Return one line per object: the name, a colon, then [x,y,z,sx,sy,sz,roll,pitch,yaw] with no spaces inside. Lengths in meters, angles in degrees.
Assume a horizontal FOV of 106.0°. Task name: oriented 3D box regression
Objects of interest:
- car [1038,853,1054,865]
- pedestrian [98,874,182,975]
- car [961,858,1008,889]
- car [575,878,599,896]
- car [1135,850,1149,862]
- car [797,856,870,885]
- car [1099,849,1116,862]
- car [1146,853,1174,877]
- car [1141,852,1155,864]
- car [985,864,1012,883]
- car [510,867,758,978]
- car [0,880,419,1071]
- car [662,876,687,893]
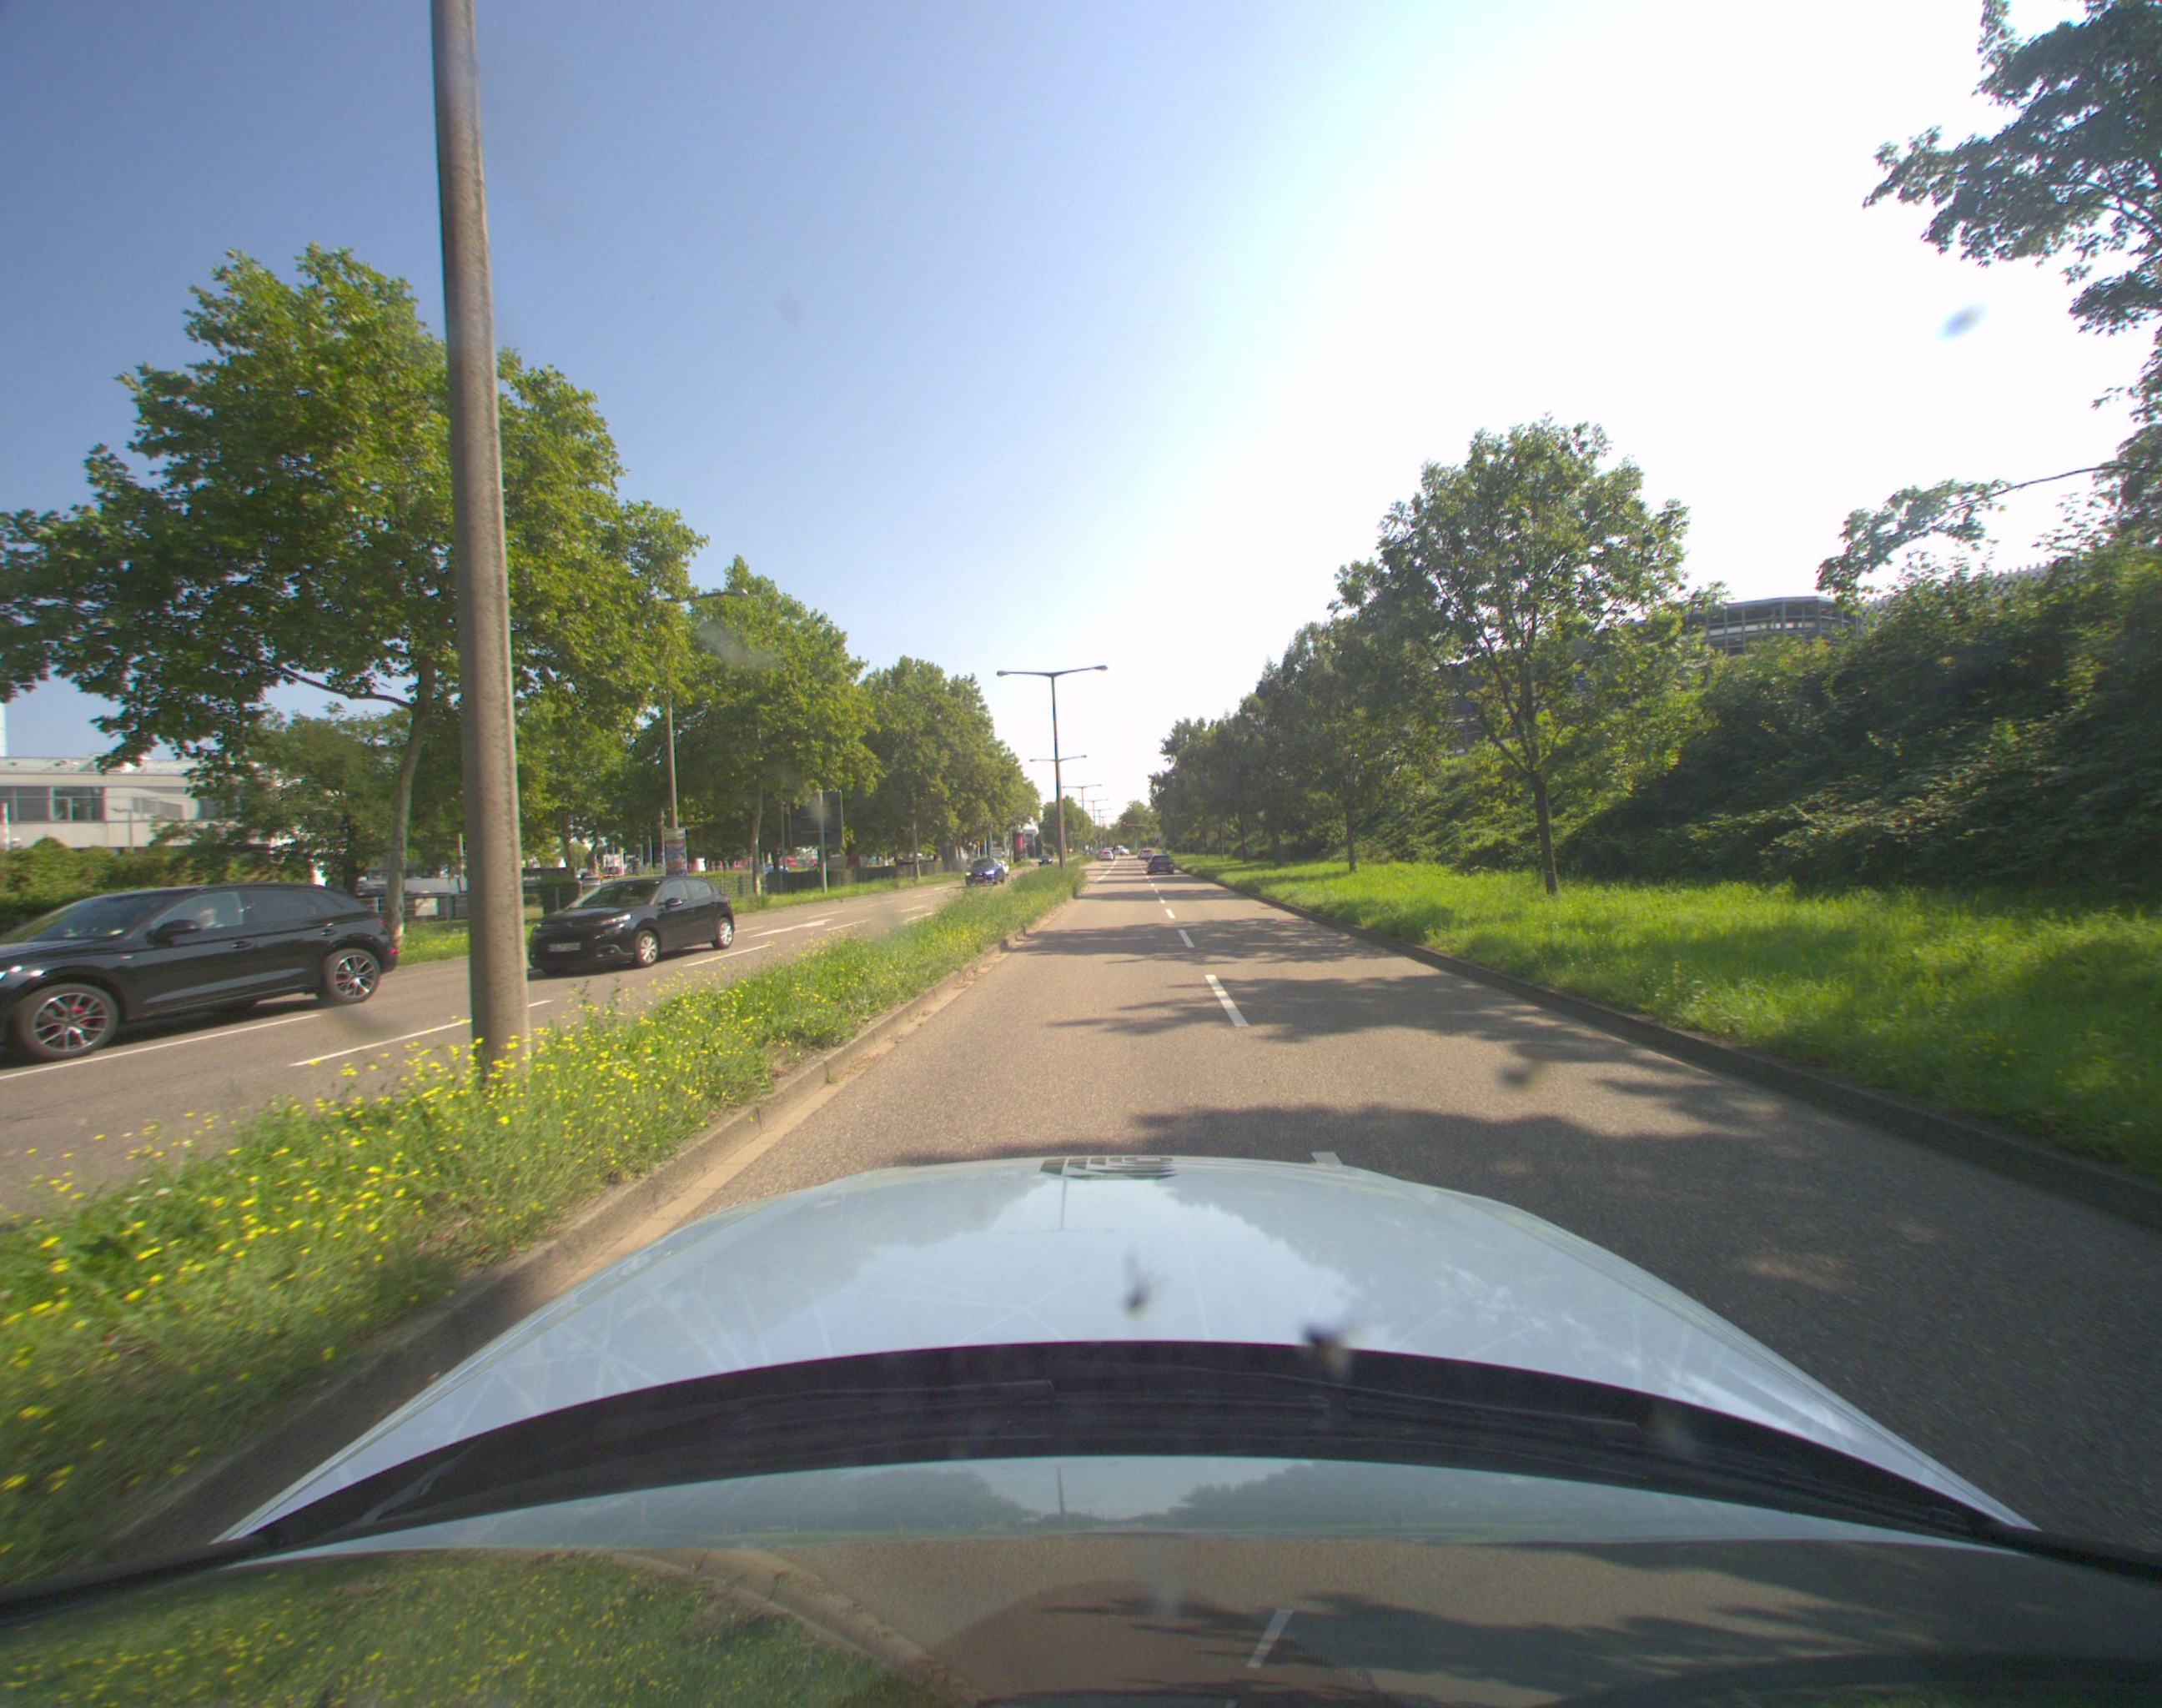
car: [-4.602,0.658,107.614,1.789,1.417,4.410,-4,-1,1]
pedestrian: [-20.591,1.493,17.863,1.022,2.013,1.253,-3,3,-44]
car: [-5.573,1.080,47.675,1.986,1.585,4.348,-4,0,1]
car: [-50.375,3.332,82.993,1.939,1.452,3.960,-3,3,-32]
car: [10.115,0.306,135.390,1.986,1.653,4.004,-3,4,2]
car: [-21.489,1.406,70.958,5.563,2.336,2.280,-1,2,1]
car: [3.691,0.160,113.830,1.984,1.702,4.006,-3,0,5]
car: [5.522,0.743,57.246,1.773,1.427,4.005,-1,3,3]
car: [9.902,0.524,120.680,1.985,1.654,4.003,-3,0,3]
car: [-6.883,1.610,67.991,1.790,1.417,4.407,-4,-1,-1]
car: [-7.664,1.087,14.542,1.697,1.489,4.317,-4,0,4]
car: [-10.554,1.226,9.338,1.837,1.605,4.616,-4,-1,4]
car: [-43.026,3.160,86.071,1.939,1.452,3.960,-3,3,-32]
